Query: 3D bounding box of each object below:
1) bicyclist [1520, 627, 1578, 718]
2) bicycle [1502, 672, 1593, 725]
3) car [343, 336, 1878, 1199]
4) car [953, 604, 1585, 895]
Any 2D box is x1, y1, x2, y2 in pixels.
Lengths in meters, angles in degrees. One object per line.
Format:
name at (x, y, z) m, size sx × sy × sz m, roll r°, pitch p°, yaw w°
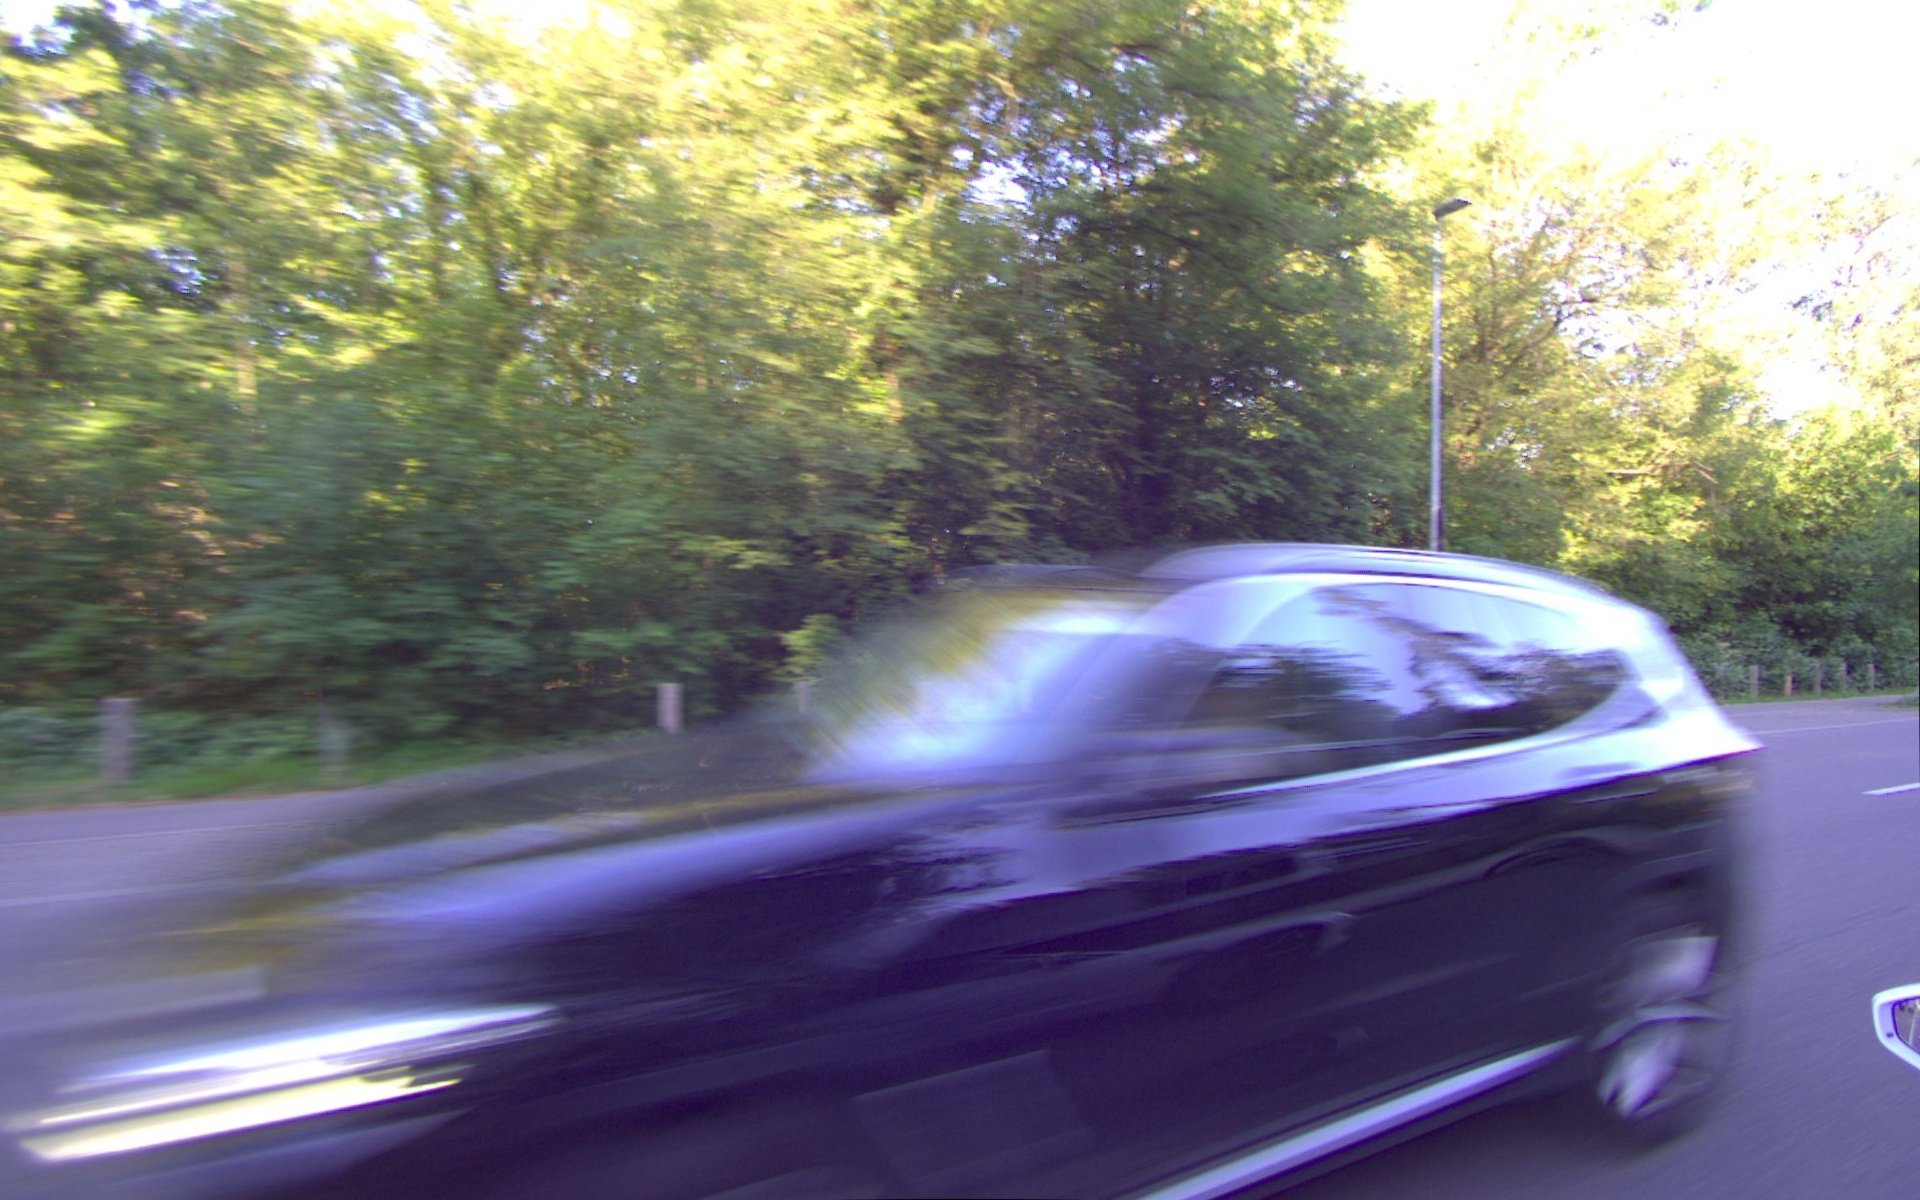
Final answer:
bicyclist at (9.937, 1.211, 16.960) m, size 0.752 × 1.503 × 0.497 m, roll 1°, pitch -3°, yaw -30°
bicycle at (9.889, 1.638, 16.889) m, size 1.787 × 0.824 × 0.493 m, roll 1°, pitch -4°, yaw -30°
car at (0.717, 0.614, 3.116) m, size 4.389 × 1.726 × 1.909 m, roll 1°, pitch -2°, yaw -30°
car at (2.353, 0.864, 7.333) m, size 4.476 × 1.552 × 1.889 m, roll 2°, pitch -1°, yaw -30°
